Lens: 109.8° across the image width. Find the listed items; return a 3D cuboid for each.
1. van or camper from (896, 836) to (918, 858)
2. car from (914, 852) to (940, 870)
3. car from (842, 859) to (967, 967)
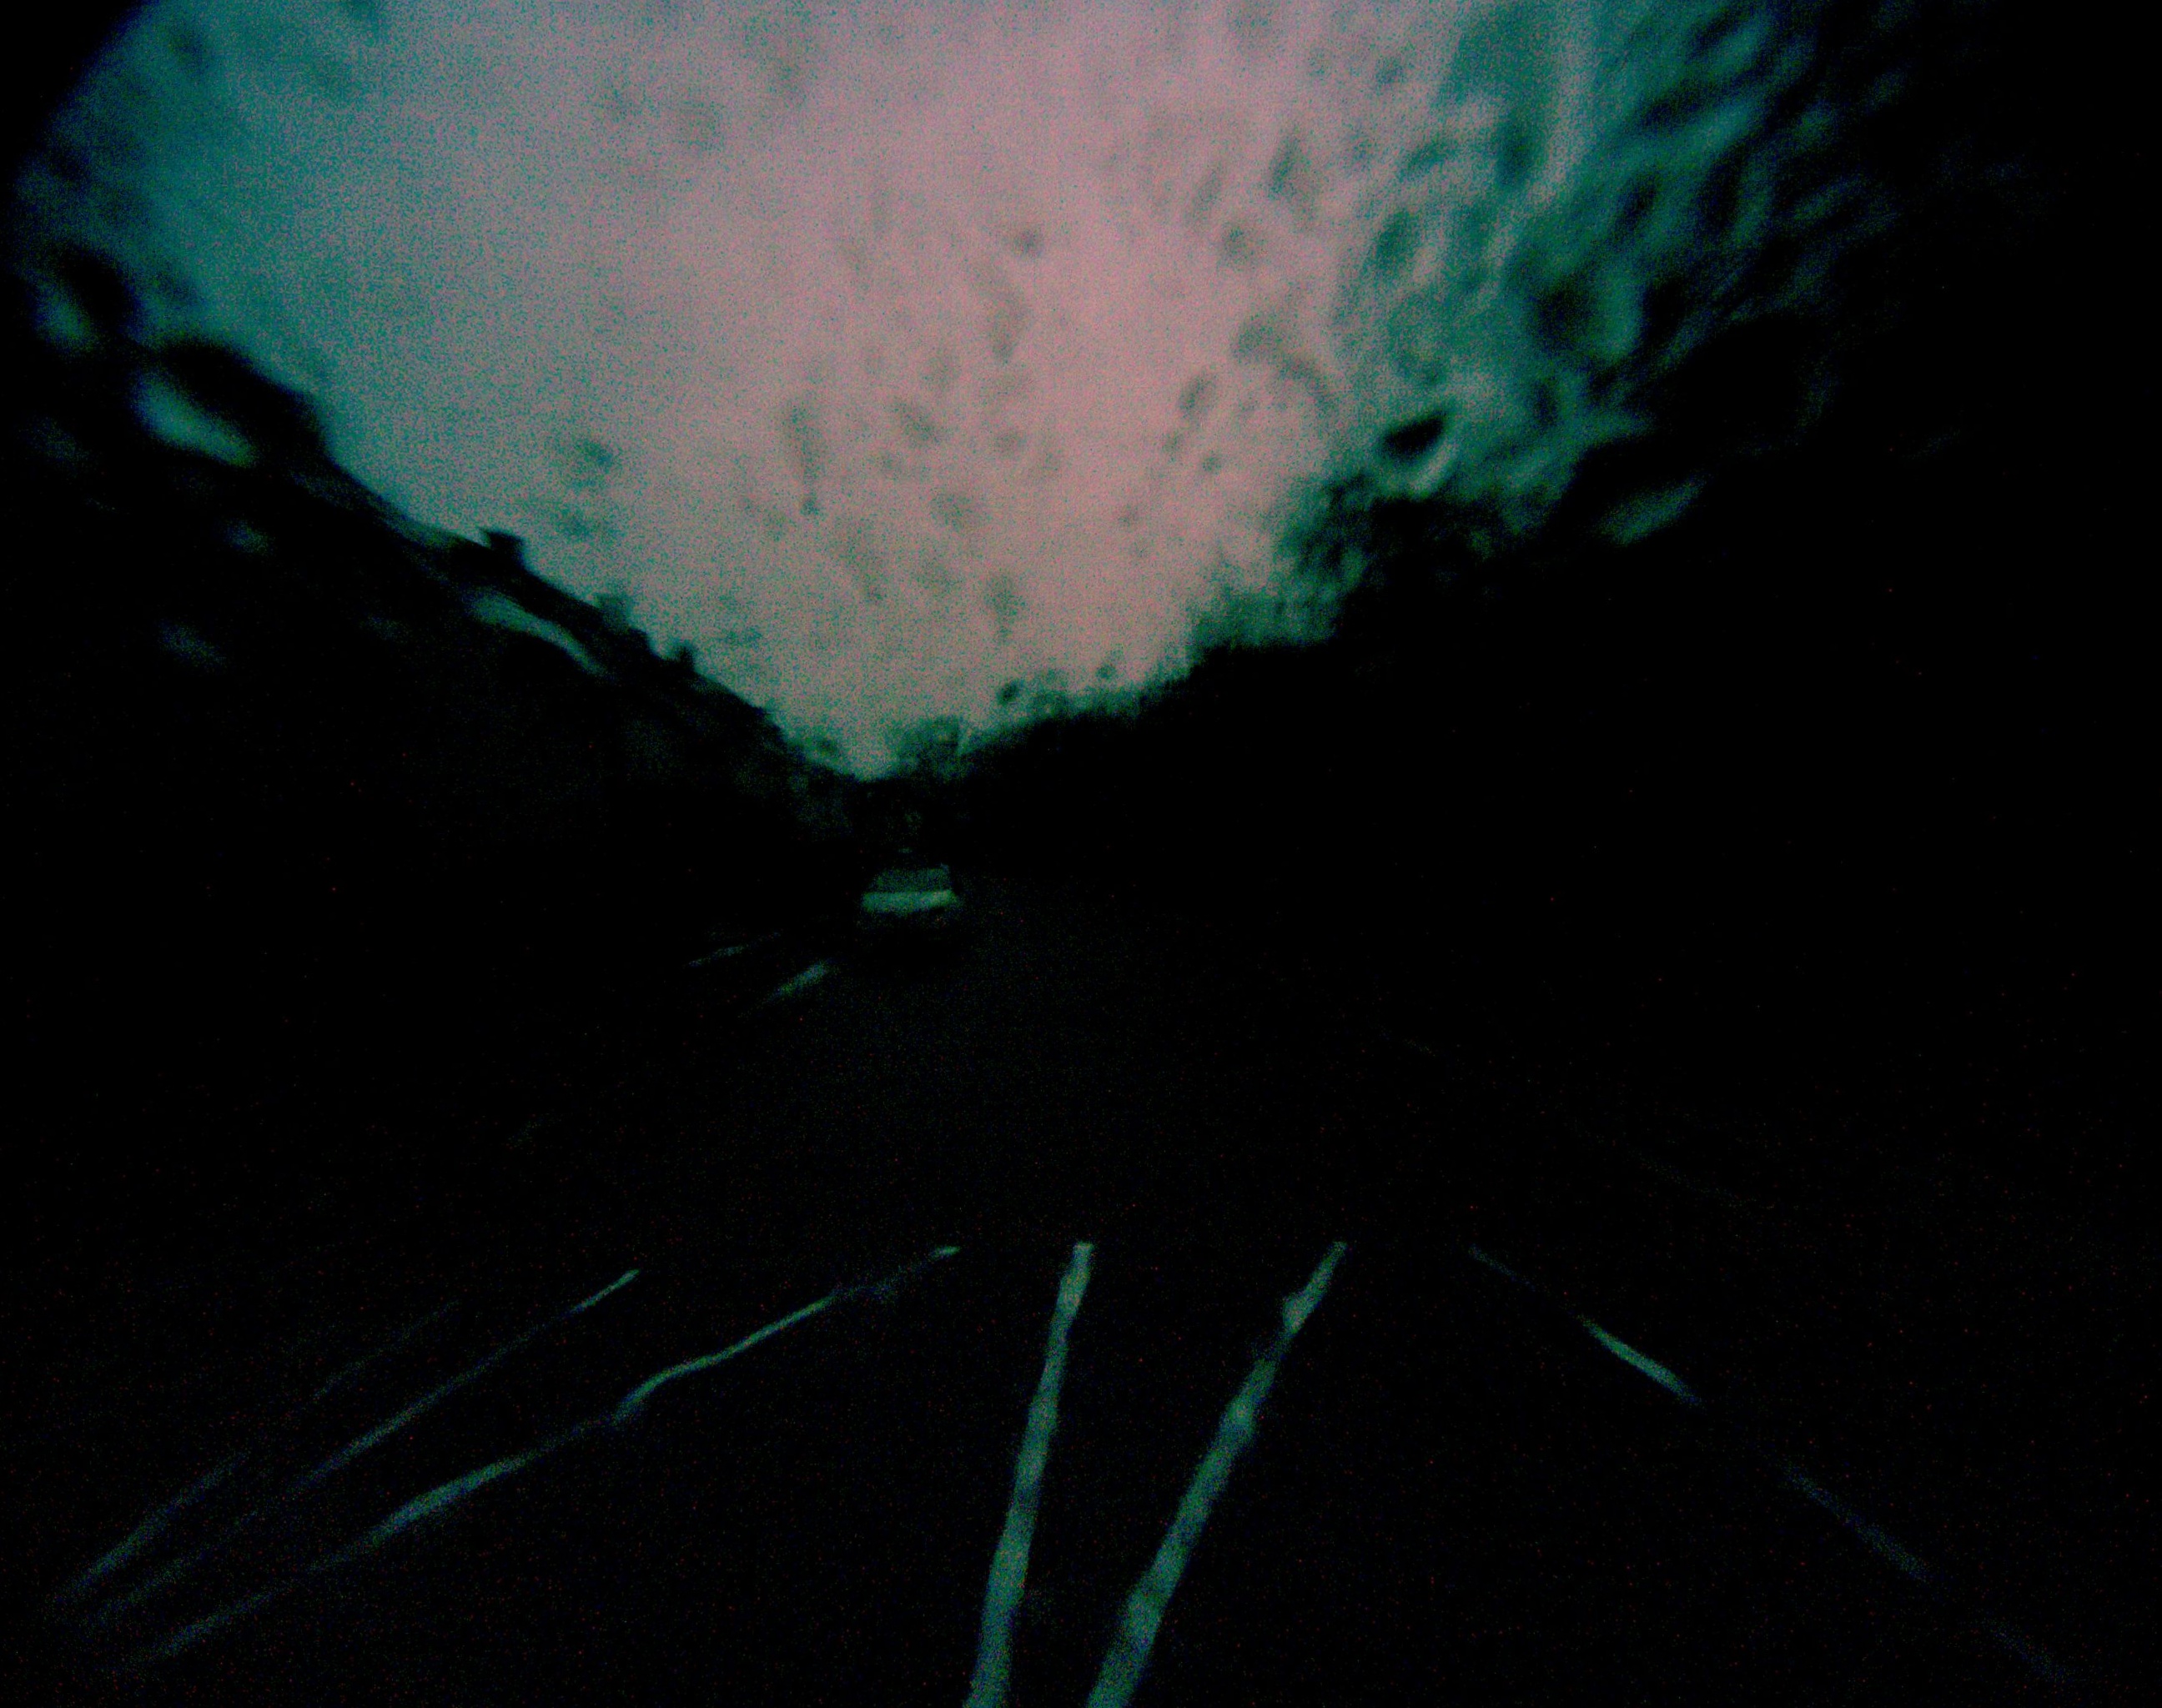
[{"bbox_3d":[-20.776,-0.790,90.438,2.022,2.493,6.782,-1,0,-17],"label":"van or camper"},{"bbox_3d":[-13.225,0.559,64.971,1.745,1.421,4.450,-3,1,-17],"label":"car"},{"bbox_3d":[-2.976,0.904,13.575,1.709,1.497,4.021,-2,1,-7],"label":"car"}]
